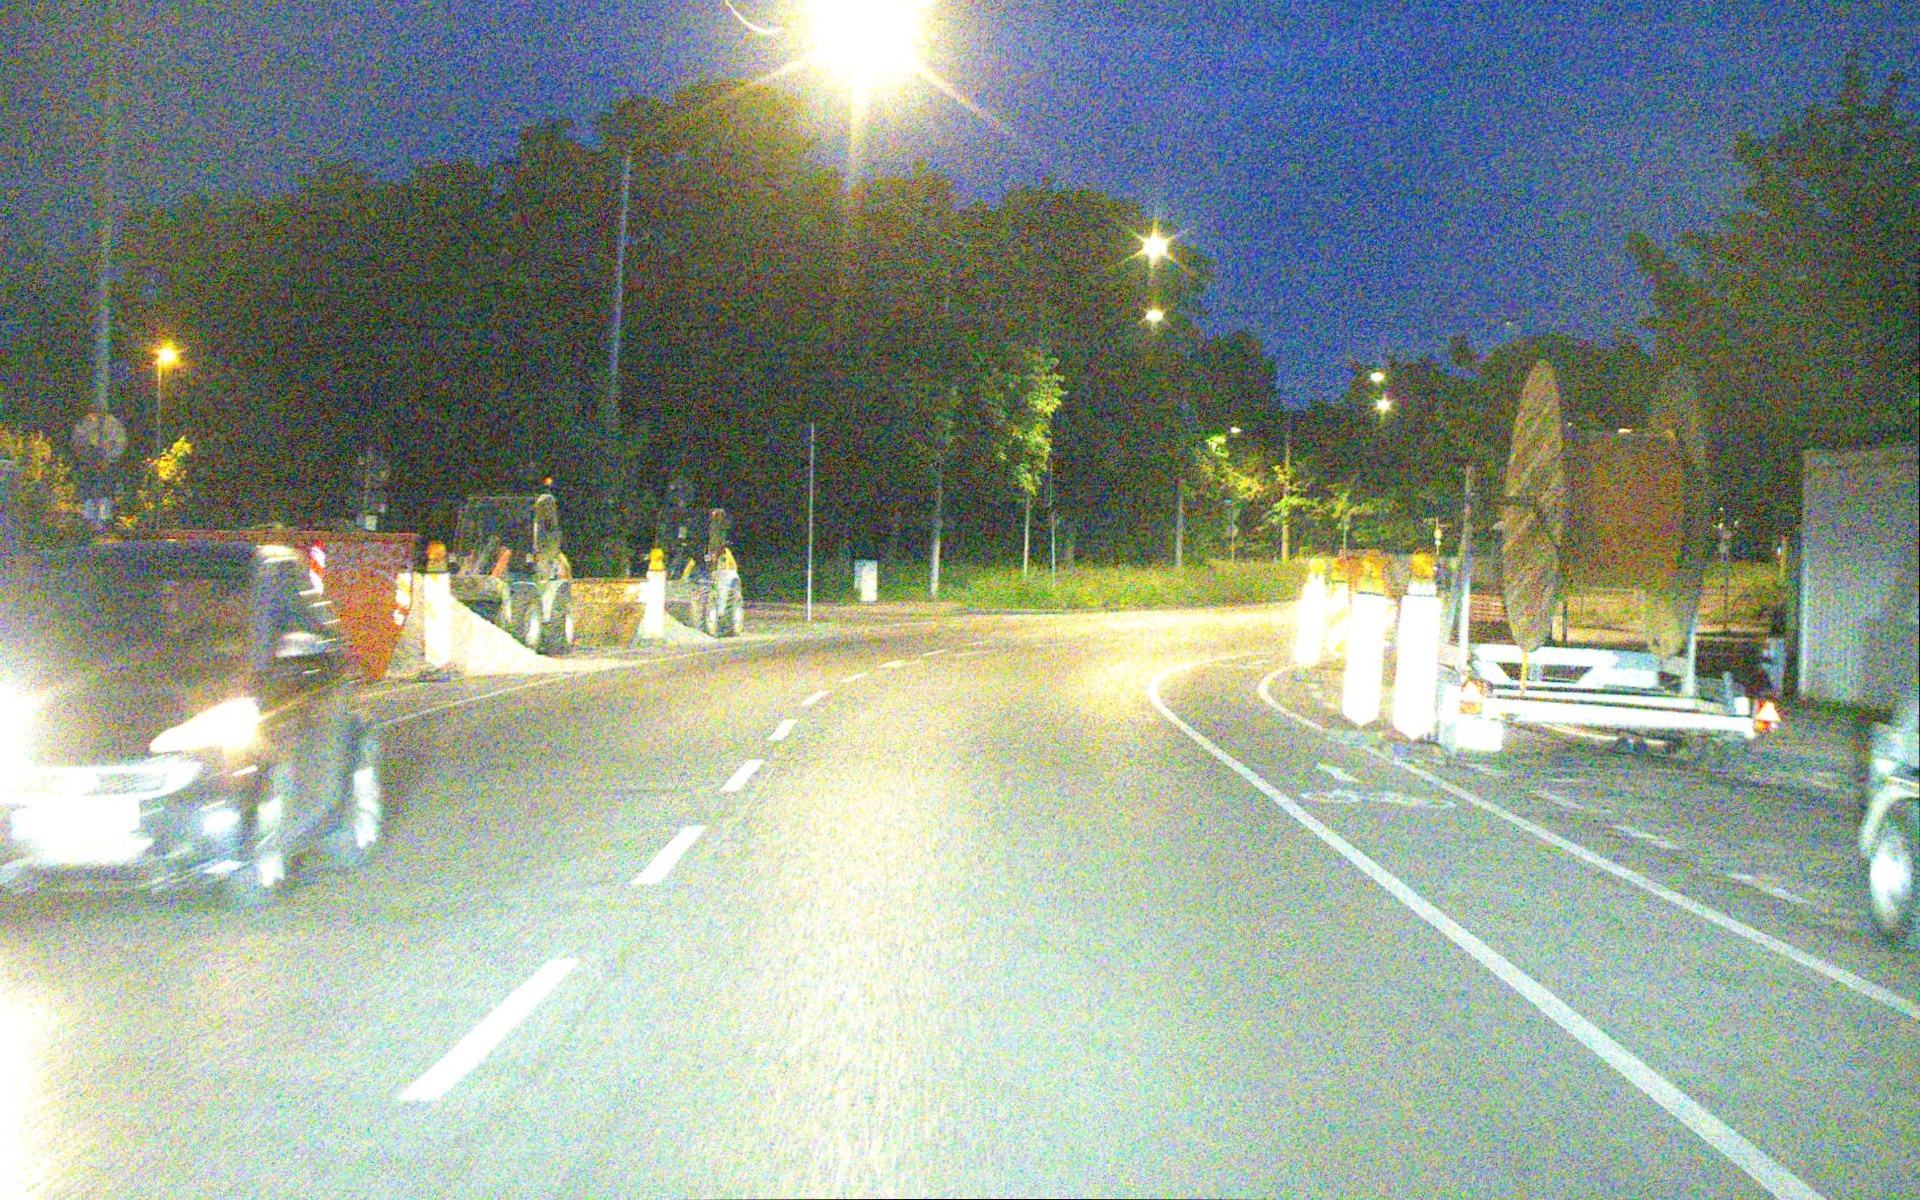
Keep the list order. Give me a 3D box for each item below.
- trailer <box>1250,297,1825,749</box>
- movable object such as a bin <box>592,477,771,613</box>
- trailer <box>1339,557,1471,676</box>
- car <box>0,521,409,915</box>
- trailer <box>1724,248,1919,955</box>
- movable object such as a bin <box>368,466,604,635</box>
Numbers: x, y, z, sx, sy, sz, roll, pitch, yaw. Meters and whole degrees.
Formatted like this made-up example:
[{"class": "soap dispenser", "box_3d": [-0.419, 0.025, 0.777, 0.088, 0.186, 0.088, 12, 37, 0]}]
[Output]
[{"class": "trailer", "box_3d": [4.540, -0.589, 28.199, 3.481, 3.208, 4.866, 3, 0, -4]}, {"class": "movable object such as a bin", "box_3d": [-5.057, -1.006, 63.147, 1.994, 2.368, 4.699, 1, 1, 12]}, {"class": "trailer", "box_3d": [5.805, 0.180, 45.098, 1.243, 1.429, 3.727, 2, 1, 1]}, {"class": "car", "box_3d": [-3.543, 0.447, 15.290, 1.696, 1.571, 2.957, -1, 1, 0]}, {"class": "trailer", "box_3d": [5.140, 0.050, 14.021, 2.613, 2.836, 4.710, 3, 0, -4]}, {"class": "movable object such as a bin", "box_3d": [-6.980, -0.780, 51.130, 1.994, 2.368, 4.700, 1, 2, 12]}]
